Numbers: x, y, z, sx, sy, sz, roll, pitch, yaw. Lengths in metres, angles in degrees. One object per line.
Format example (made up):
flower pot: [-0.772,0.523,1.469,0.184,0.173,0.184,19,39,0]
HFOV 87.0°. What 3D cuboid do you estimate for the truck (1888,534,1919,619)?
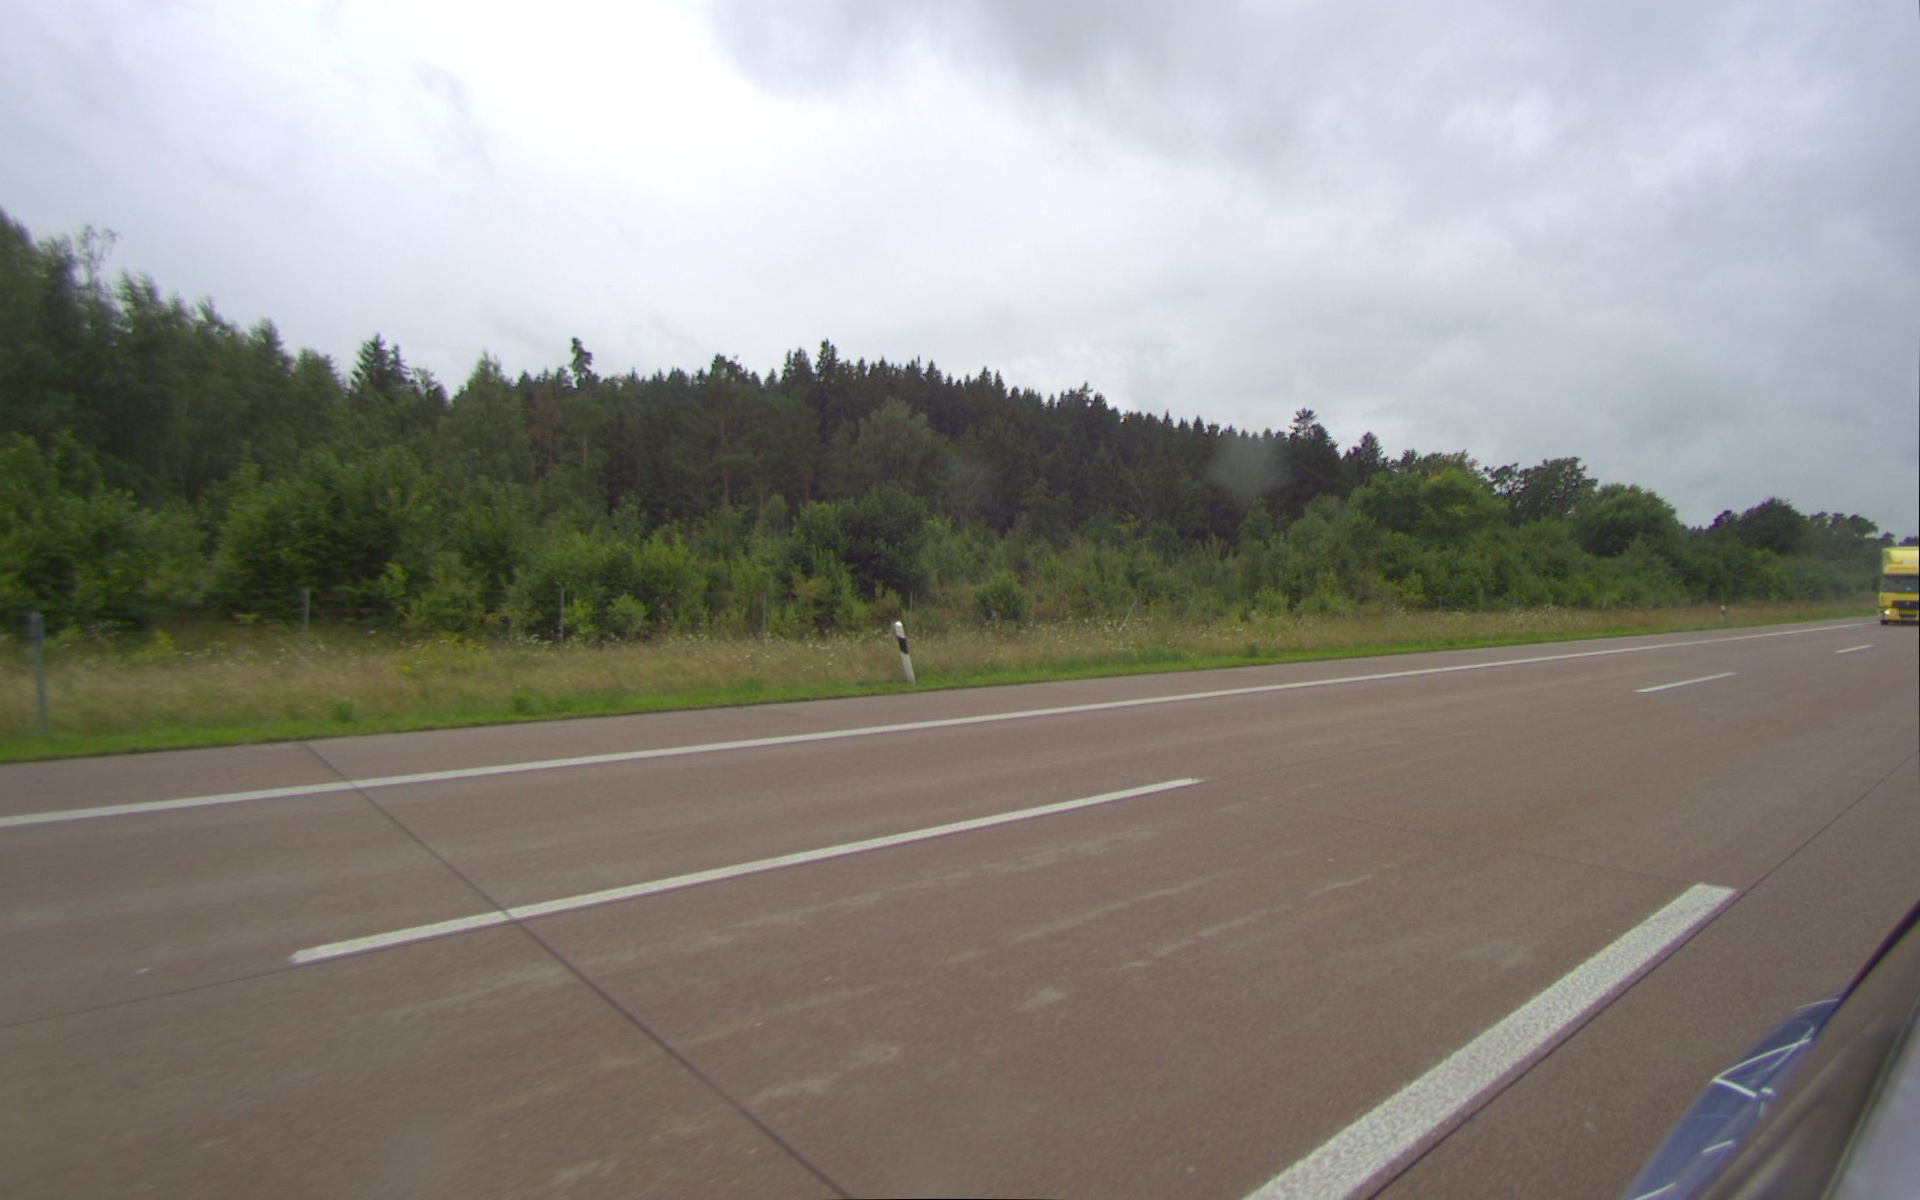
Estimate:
truck: [51.051,-1.254,53.126,6.139,4.267,2.609,-1,1,-39]

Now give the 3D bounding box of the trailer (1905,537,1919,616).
trailer: [57.759,-1.395,58.643,13.829,4.281,2.571,-2,1,-39]
